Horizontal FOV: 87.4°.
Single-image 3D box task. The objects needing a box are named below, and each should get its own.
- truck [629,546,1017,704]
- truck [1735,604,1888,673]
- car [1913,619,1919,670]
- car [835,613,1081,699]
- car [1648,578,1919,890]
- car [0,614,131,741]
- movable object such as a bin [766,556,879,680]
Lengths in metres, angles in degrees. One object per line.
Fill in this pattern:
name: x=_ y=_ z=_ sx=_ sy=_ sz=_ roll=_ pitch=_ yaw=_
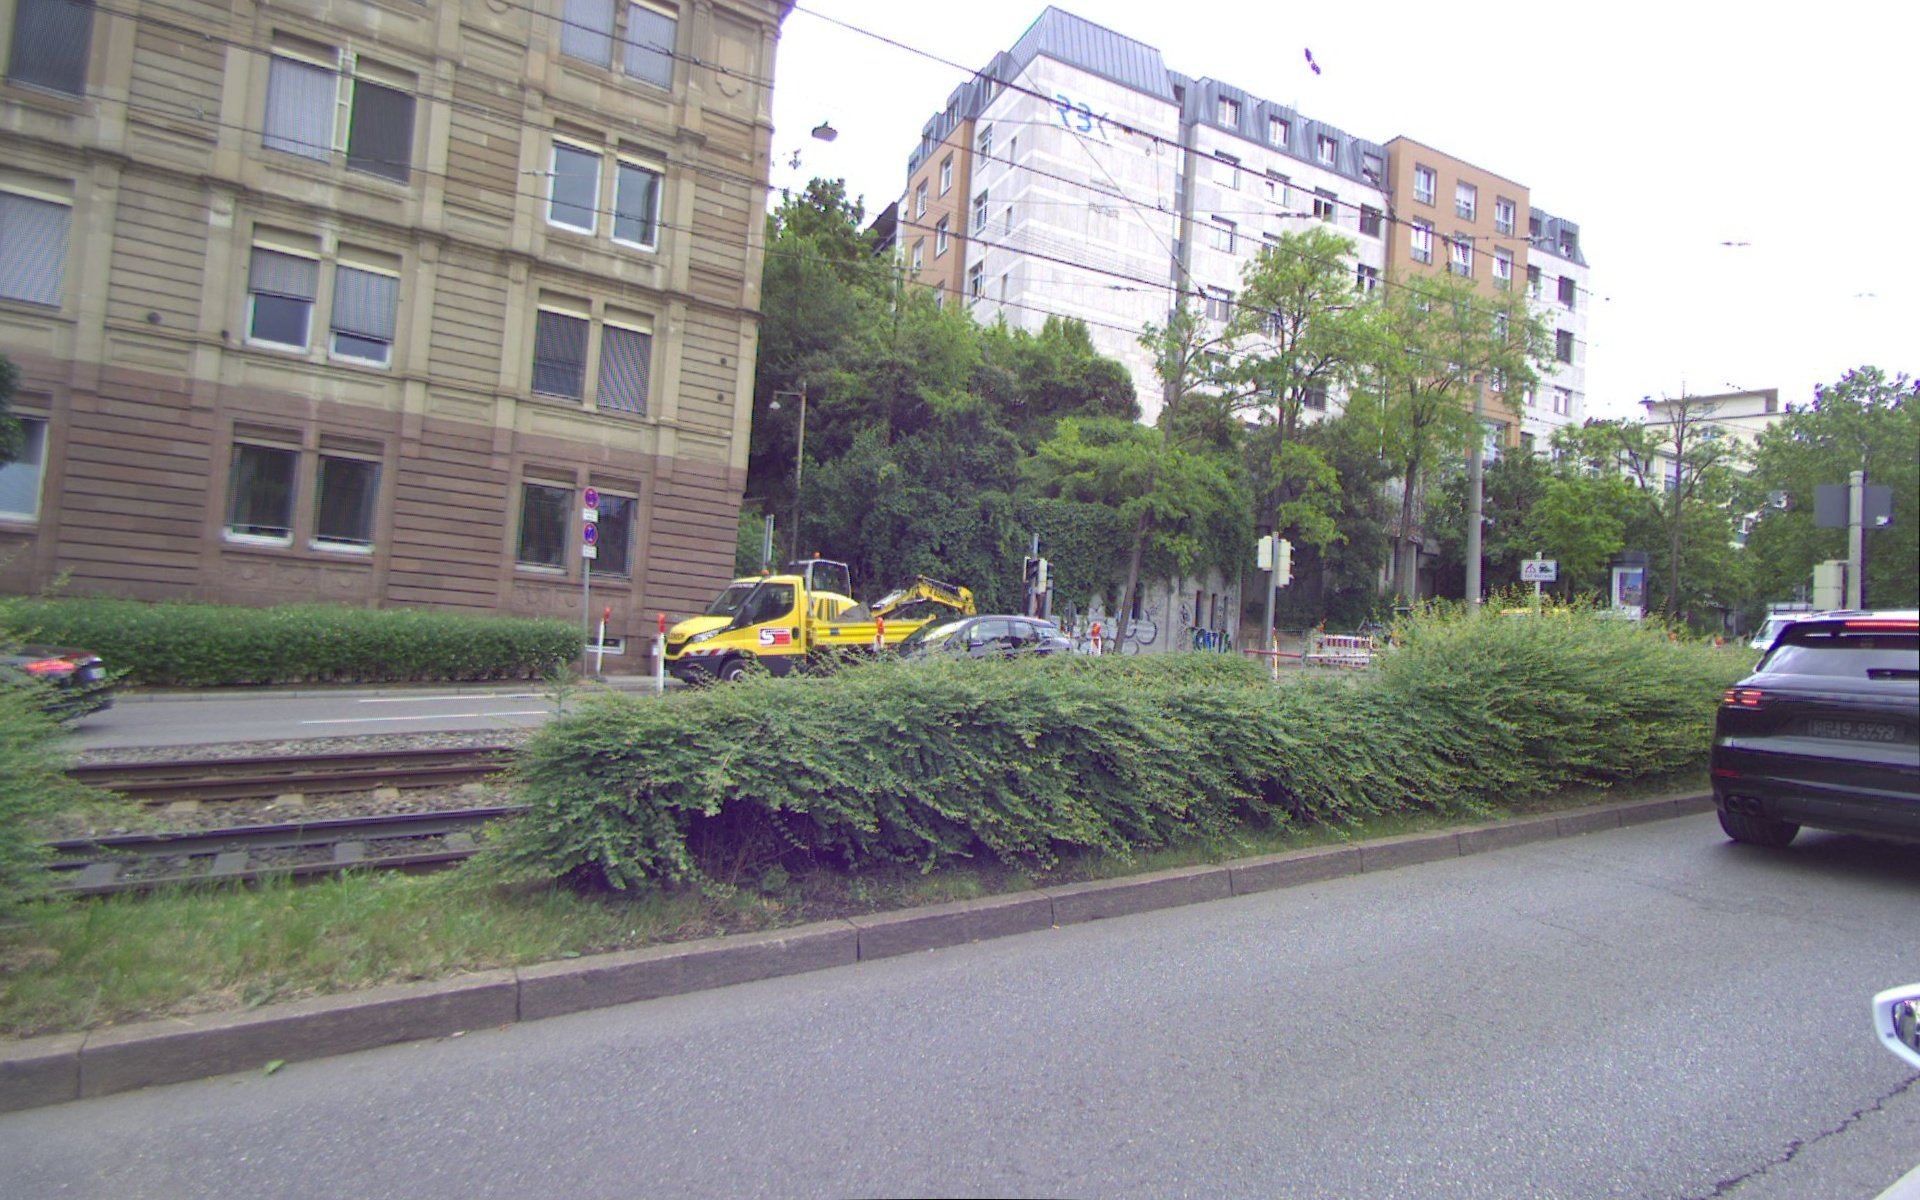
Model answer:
truck: x=-2.614 y=0.599 z=20.214 sx=7.081 sy=2.542 sz=2.900 roll=5 pitch=-2 yaw=-34
truck: x=30.563 y=1.383 z=36.003 sx=5.966 sy=2.198 sz=2.408 roll=2 pitch=1 yaw=-32
car: x=40.798 y=1.968 z=40.779 sx=3.954 sy=2.040 sz=1.984 roll=5 pitch=0 yaw=-30
car: x=0.019 y=0.930 z=17.528 sx=4.024 sy=1.340 sz=1.729 roll=2 pitch=-1 yaw=-34
car: x=7.096 y=0.866 z=7.046 sx=4.729 sy=1.707 sz=2.017 roll=4 pitch=-2 yaw=-32
car: x=-11.809 y=0.812 z=10.893 sx=4.013 sy=1.340 sz=1.734 roll=1 pitch=-1 yaw=-27
movable object such as a bin: x=-3.397 y=0.459 z=24.728 sx=2.010 sy=2.875 sz=1.980 roll=2 pitch=-2 yaw=-36
